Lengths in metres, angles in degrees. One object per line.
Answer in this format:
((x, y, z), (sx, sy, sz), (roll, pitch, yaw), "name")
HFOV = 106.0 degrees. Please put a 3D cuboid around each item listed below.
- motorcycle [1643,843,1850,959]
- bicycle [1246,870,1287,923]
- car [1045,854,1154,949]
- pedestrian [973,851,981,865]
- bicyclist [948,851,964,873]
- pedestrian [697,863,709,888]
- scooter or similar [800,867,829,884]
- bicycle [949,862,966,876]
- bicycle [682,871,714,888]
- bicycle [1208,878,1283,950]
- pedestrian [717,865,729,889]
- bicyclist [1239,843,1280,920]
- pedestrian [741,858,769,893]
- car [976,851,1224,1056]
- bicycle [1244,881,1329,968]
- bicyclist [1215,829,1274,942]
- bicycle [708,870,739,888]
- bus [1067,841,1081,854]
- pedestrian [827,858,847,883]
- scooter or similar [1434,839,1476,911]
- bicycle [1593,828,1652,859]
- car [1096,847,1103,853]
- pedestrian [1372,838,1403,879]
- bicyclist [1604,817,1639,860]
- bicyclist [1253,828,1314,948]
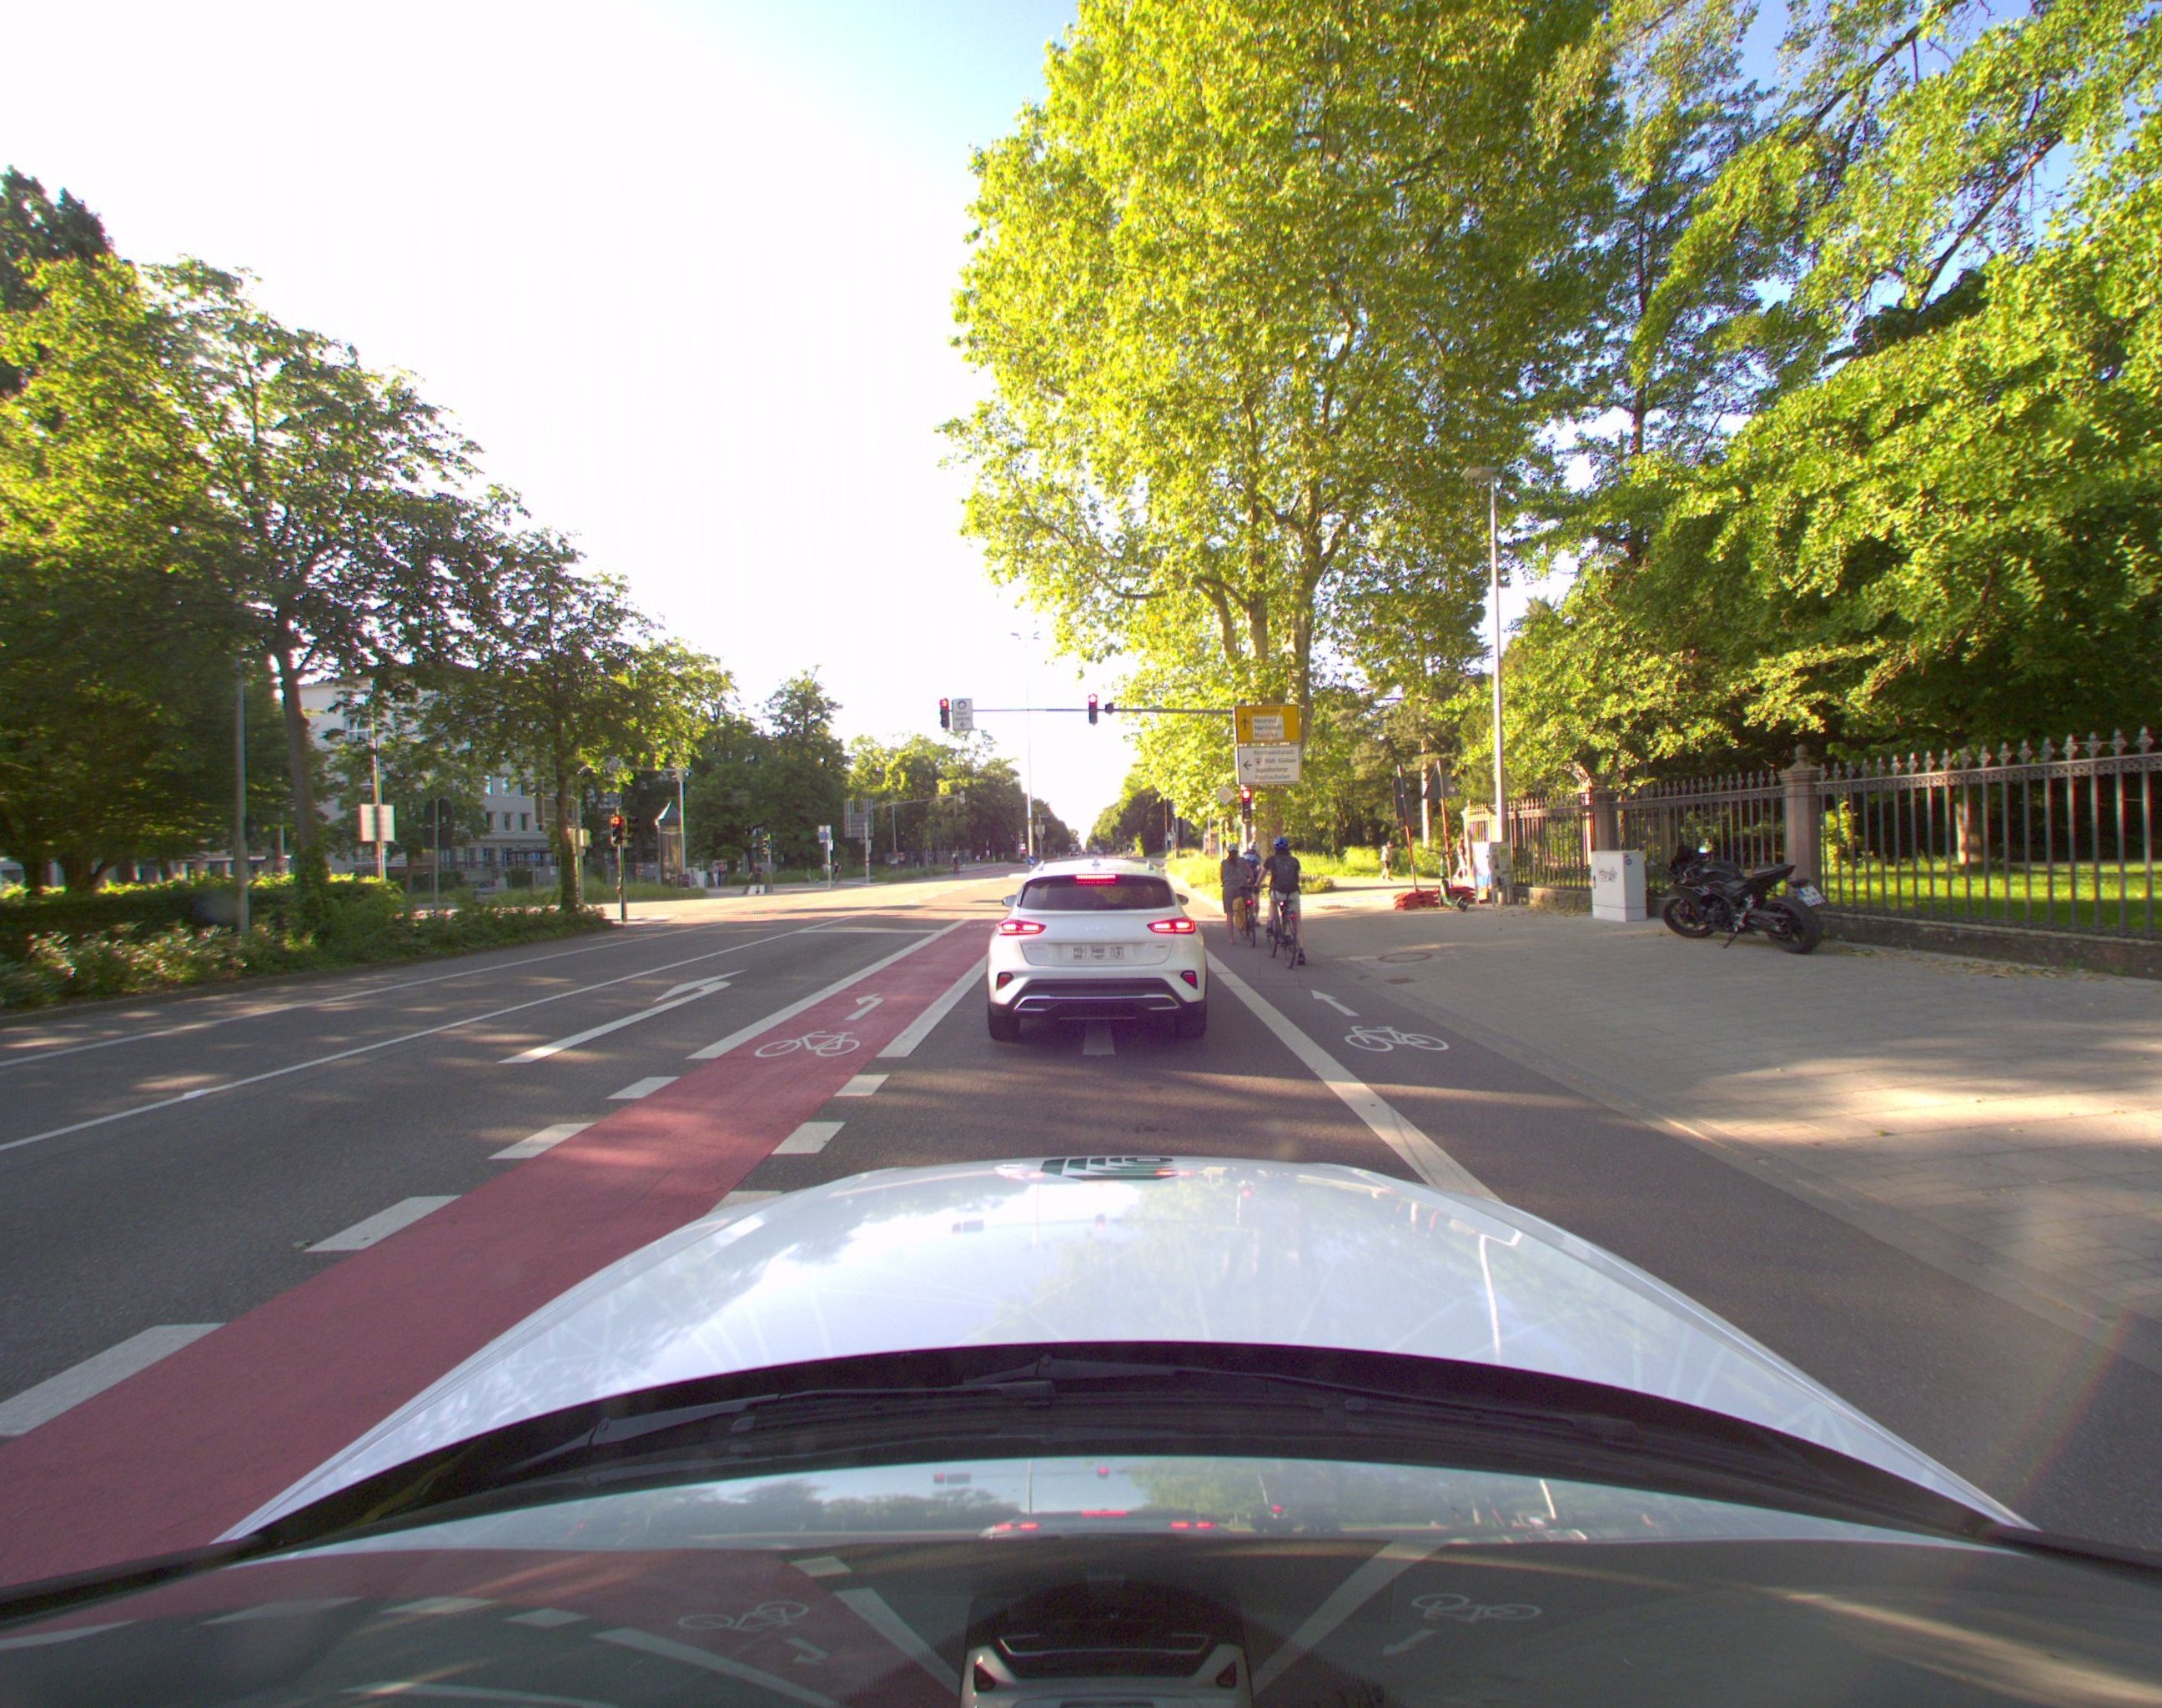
((7.391, 0.473, 9.212), (0.504, 1.131, 2.170), (-4, 0, 0), "motorcycle")
((3.703, 0.829, 16.358), (0.400, 0.956, 1.551), (-5, 0, 0), "bicycle")
((0.312, 0.778, 15.155), (1.723, 1.483, 3.516), (-3, 0, 0), "car")
((-12.831, 0.499, 100.410), (0.782, 1.785, 0.751), (-1, -1, 2), "pedestrian")
((-9.380, 0.606, 61.044), (0.871, 1.608, 1.189), (-3, 0, 4), "bicyclist")
((-25.422, 1.459, 54.734), (0.628, 1.642, 0.444), (-1, -1, -8), "pedestrian")
((-18.645, 1.521, 57.032), (0.703, 1.124, 1.933), (-1, 0, 34), "scooter or similar")
((-9.265, 1.102, 61.067), (0.660, 0.989, 2.507), (-3, 0, 4), "bicycle")
((-25.861, 1.719, 55.010), (1.859, 1.148, 0.442), (-1, -1, -6), "bicycle")
((2.704, 0.948, 13.684), (0.755, 1.013, 2.569), (0, 0, 0), "bicycle")
((-23.972, 1.524, 54.556), (0.628, 1.580, 0.444), (-1, -1, -8), "pedestrian")
((3.595, 0.551, 16.460), (0.552, 1.478, 0.717), (-5, -1, 0), "bicyclist")
((-18.768, 1.229, 46.925), (0.990, 2.014, 1.193), (-1, -1, 7), "pedestrian")
((0.160, 0.735, 8.053), (1.815, 1.480, 3.936), (-1, 0, 0), "car")
((2.801, 0.923, 11.326), (0.666, 1.009, 2.081), (-1, 0, 0), "bicycle")
((2.702, 0.497, 13.559), (0.750, 1.795, 1.165), (0, 0, 0), "bicyclist")
((-24.049, 1.675, 54.772), (1.859, 1.148, 0.290), (-1, -1, -6), "bicycle")
((-2.109, -2.006, 242.839), (3.732, 3.673, 13.230), (-2, 0, -2), "bus")
((-16.959, 1.140, 56.646), (1.086, 1.603, 0.999), (-3, 0, -5), "pedestrian")
((7.223, 0.393, 15.763), (0.227, 1.327, 1.172), (-3, 0, 0), "scooter or similar")
((18.498, -0.358, 27.822), (1.606, 1.015, 0.476), (-1, -1, 11), "bicycle")
((5.644, -1.215, 250.403), (1.988, 2.013, 3.997), (-3, 0, -2), "car")
((11.458, 0.166, 30.445), (0.815, 1.518, 0.916), (-1, -1, 0), "pedestrian")
((18.462, -0.509, 27.813), (0.777, 1.431, 0.668), (-1, -1, 12), "bicyclist")
((2.796, 0.455, 11.318), (0.663, 1.602, 0.721), (-1, 0, 0), "bicyclist")
